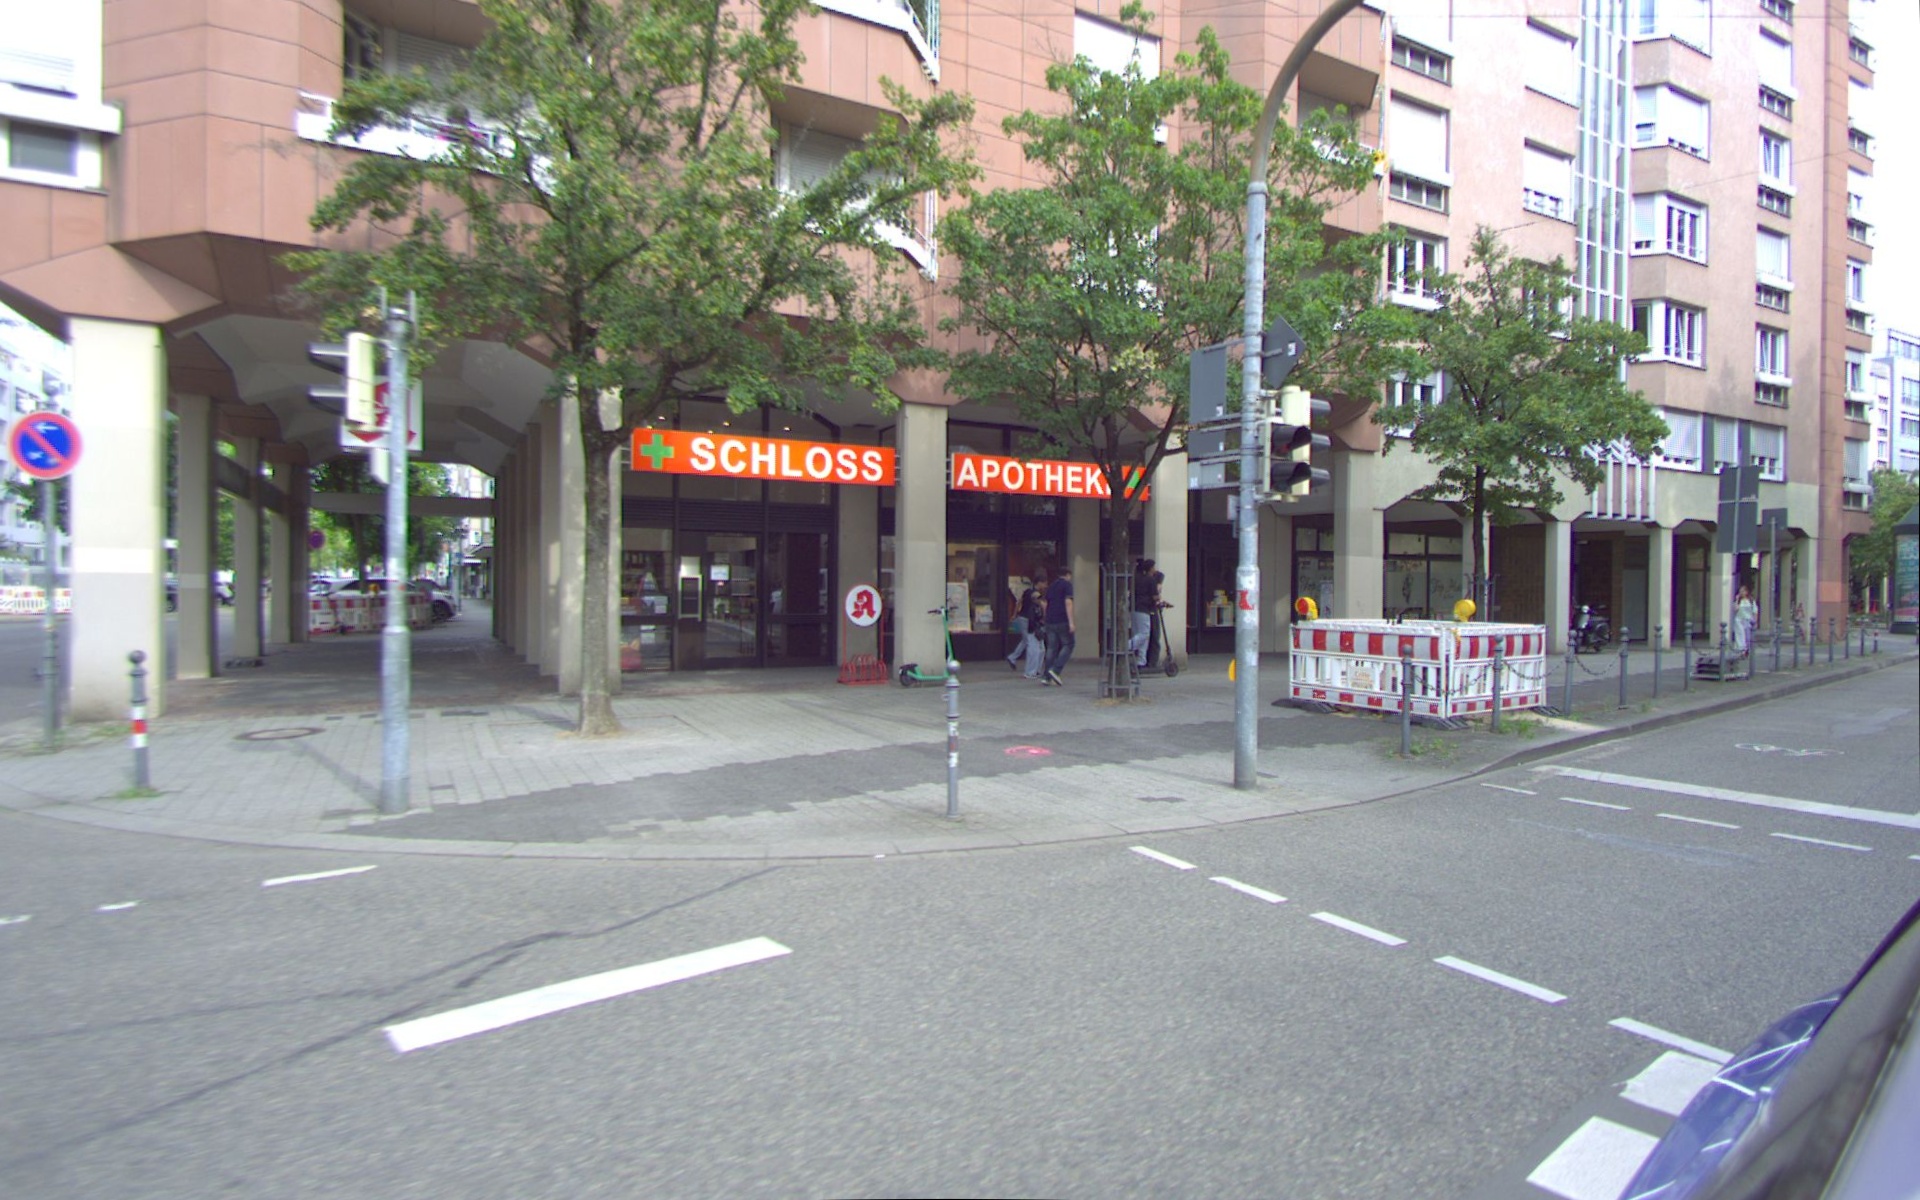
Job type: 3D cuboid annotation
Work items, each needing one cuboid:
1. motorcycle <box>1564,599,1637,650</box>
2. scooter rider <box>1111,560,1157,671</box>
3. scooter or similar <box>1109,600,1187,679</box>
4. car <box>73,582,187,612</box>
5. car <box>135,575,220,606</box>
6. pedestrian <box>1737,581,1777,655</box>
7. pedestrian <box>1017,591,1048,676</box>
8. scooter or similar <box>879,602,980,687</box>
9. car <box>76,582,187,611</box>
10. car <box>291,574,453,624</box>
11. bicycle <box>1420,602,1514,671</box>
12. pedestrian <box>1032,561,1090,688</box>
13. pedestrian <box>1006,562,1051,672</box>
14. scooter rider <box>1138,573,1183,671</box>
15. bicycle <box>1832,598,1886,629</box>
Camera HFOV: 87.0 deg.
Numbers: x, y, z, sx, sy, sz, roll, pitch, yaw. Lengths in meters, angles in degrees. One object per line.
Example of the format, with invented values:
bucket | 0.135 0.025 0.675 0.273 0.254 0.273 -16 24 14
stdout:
motorcycle | 15.464 0.592 24.432 1.865 1.170 0.620 1 1 -28
scooter rider | 2.781 0.243 16.203 0.542 1.742 0.464 0 0 -33
scooter or similar | 3.052 0.613 16.391 1.305 1.221 0.475 0 0 -36
car | -40.673 -0.153 49.730 4.240 1.423 1.837 0 1 -36
car | -47.084 -0.567 60.998 3.924 1.789 1.728 0 1 -35
pedestrian | 18.325 0.403 23.268 0.810 1.670 0.545 0 0 -39
pedestrian | 1.172 0.525 16.272 0.476 1.340 0.487 0 0 5
scooter or similar | -0.442 0.634 14.870 1.378 1.184 0.556 0 0 -31
car | -42.315 -0.218 51.827 4.239 1.423 1.837 0 1 -36
car | -19.749 -0.077 34.177 1.838 1.576 4.402 1 1 36
bicycle | 8.778 0.599 17.503 1.769 1.132 0.615 0 0 -32
pedestrian | 1.489 0.351 14.945 0.644 1.822 0.554 0 0 -28
pedestrian | 1.151 0.277 17.167 0.644 1.822 0.554 0 0 -9
scooter rider | 3.280 0.350 16.552 0.554 1.576 0.462 0 0 -35
bicycle | 35.659 0.535 40.171 0.658 1.142 1.665 1 2 2
